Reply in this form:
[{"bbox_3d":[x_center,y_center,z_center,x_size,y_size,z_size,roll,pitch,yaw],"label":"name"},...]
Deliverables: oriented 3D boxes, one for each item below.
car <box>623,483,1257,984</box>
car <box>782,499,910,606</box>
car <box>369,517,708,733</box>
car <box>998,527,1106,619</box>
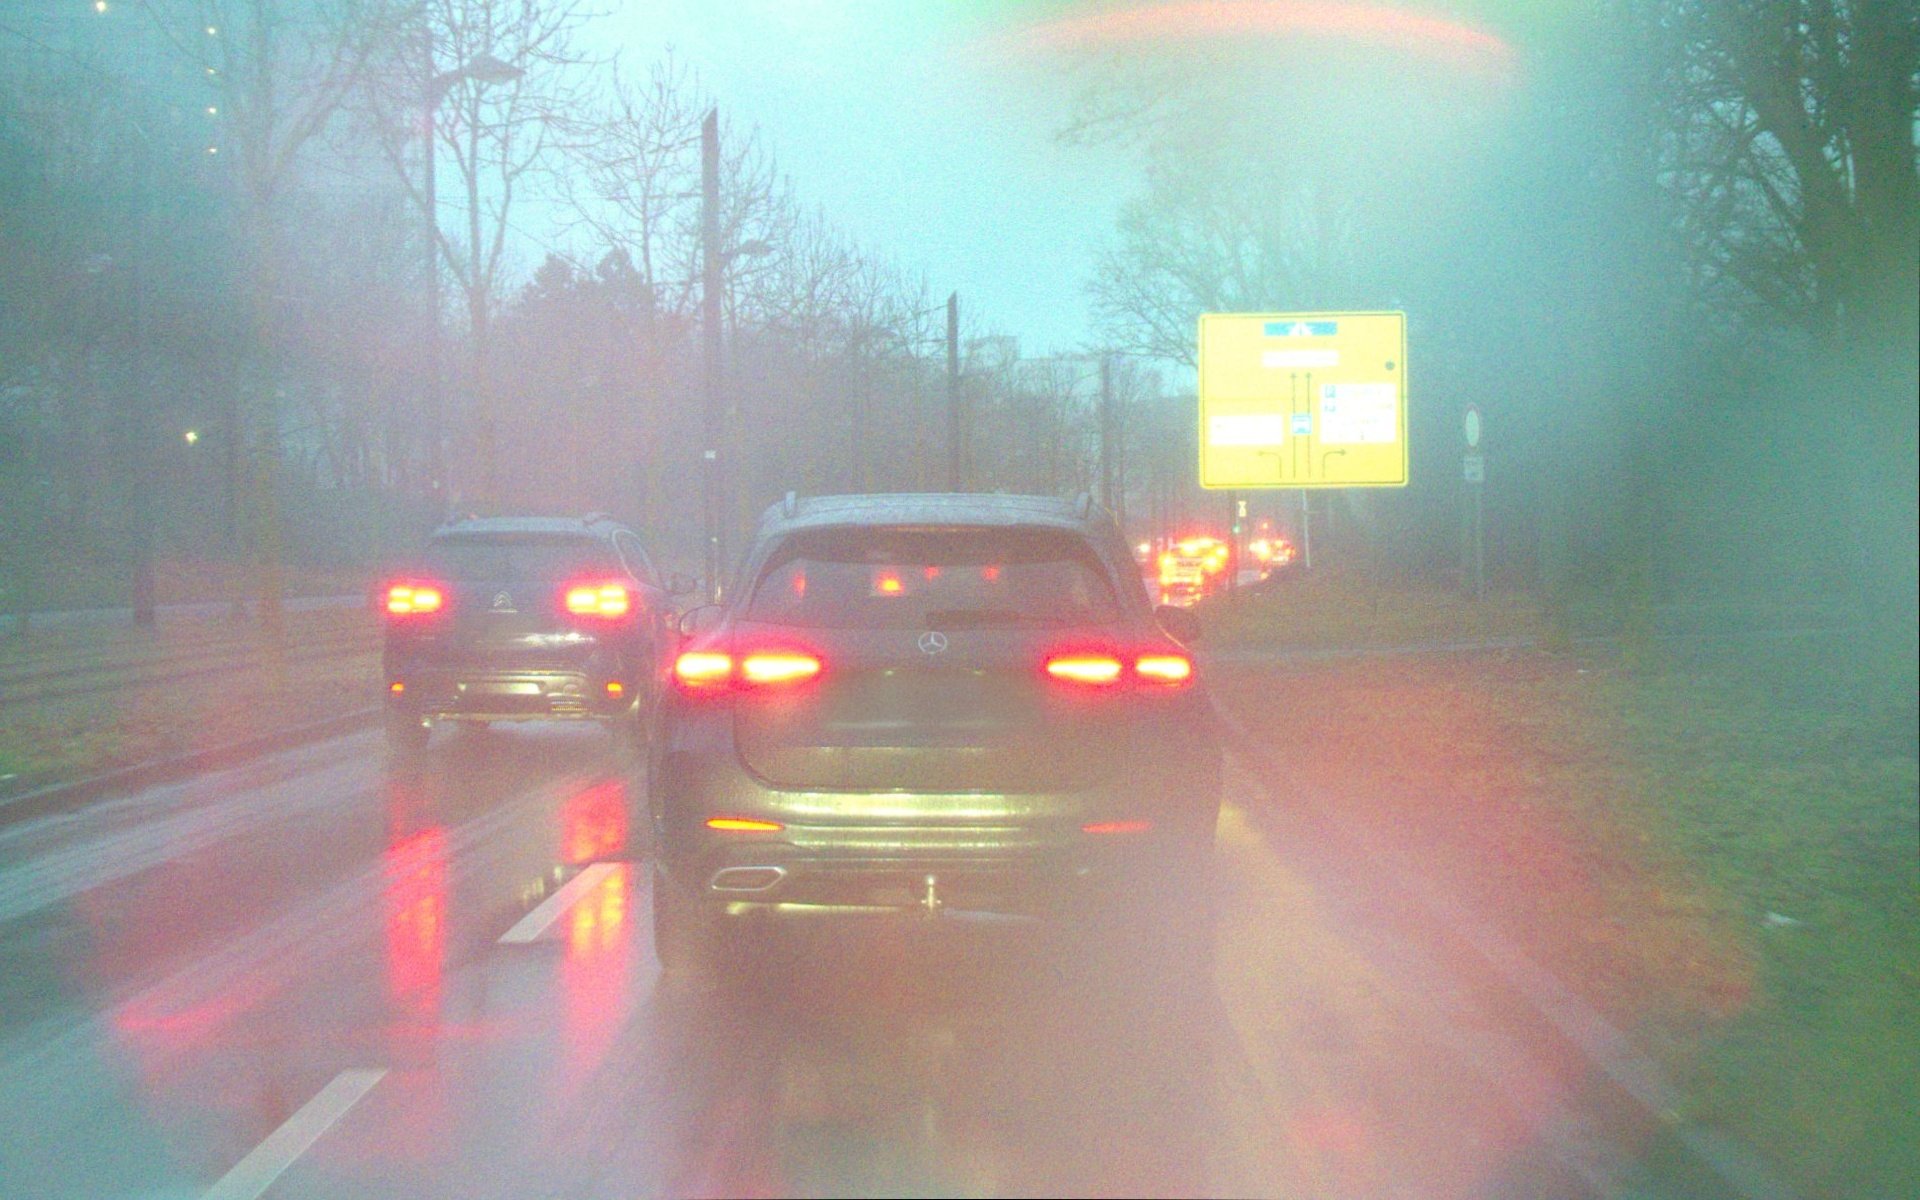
[{"bbox_3d":[-0.146,0.376,12.864,1.998,1.578,4.001,0,1,-2],"label":"car"},{"bbox_3d":[-1.738,-0.759,53.243,1.880,1.588,4.001,-1,1,-1],"label":"car"},{"bbox_3d":[-3.035,0.123,25.547,1.880,1.454,4.000,0,1,2],"label":"car"},{"bbox_3d":[1.593,-0.496,60.533,1.708,1.552,3.996,0,1,-1],"label":"car"}]
